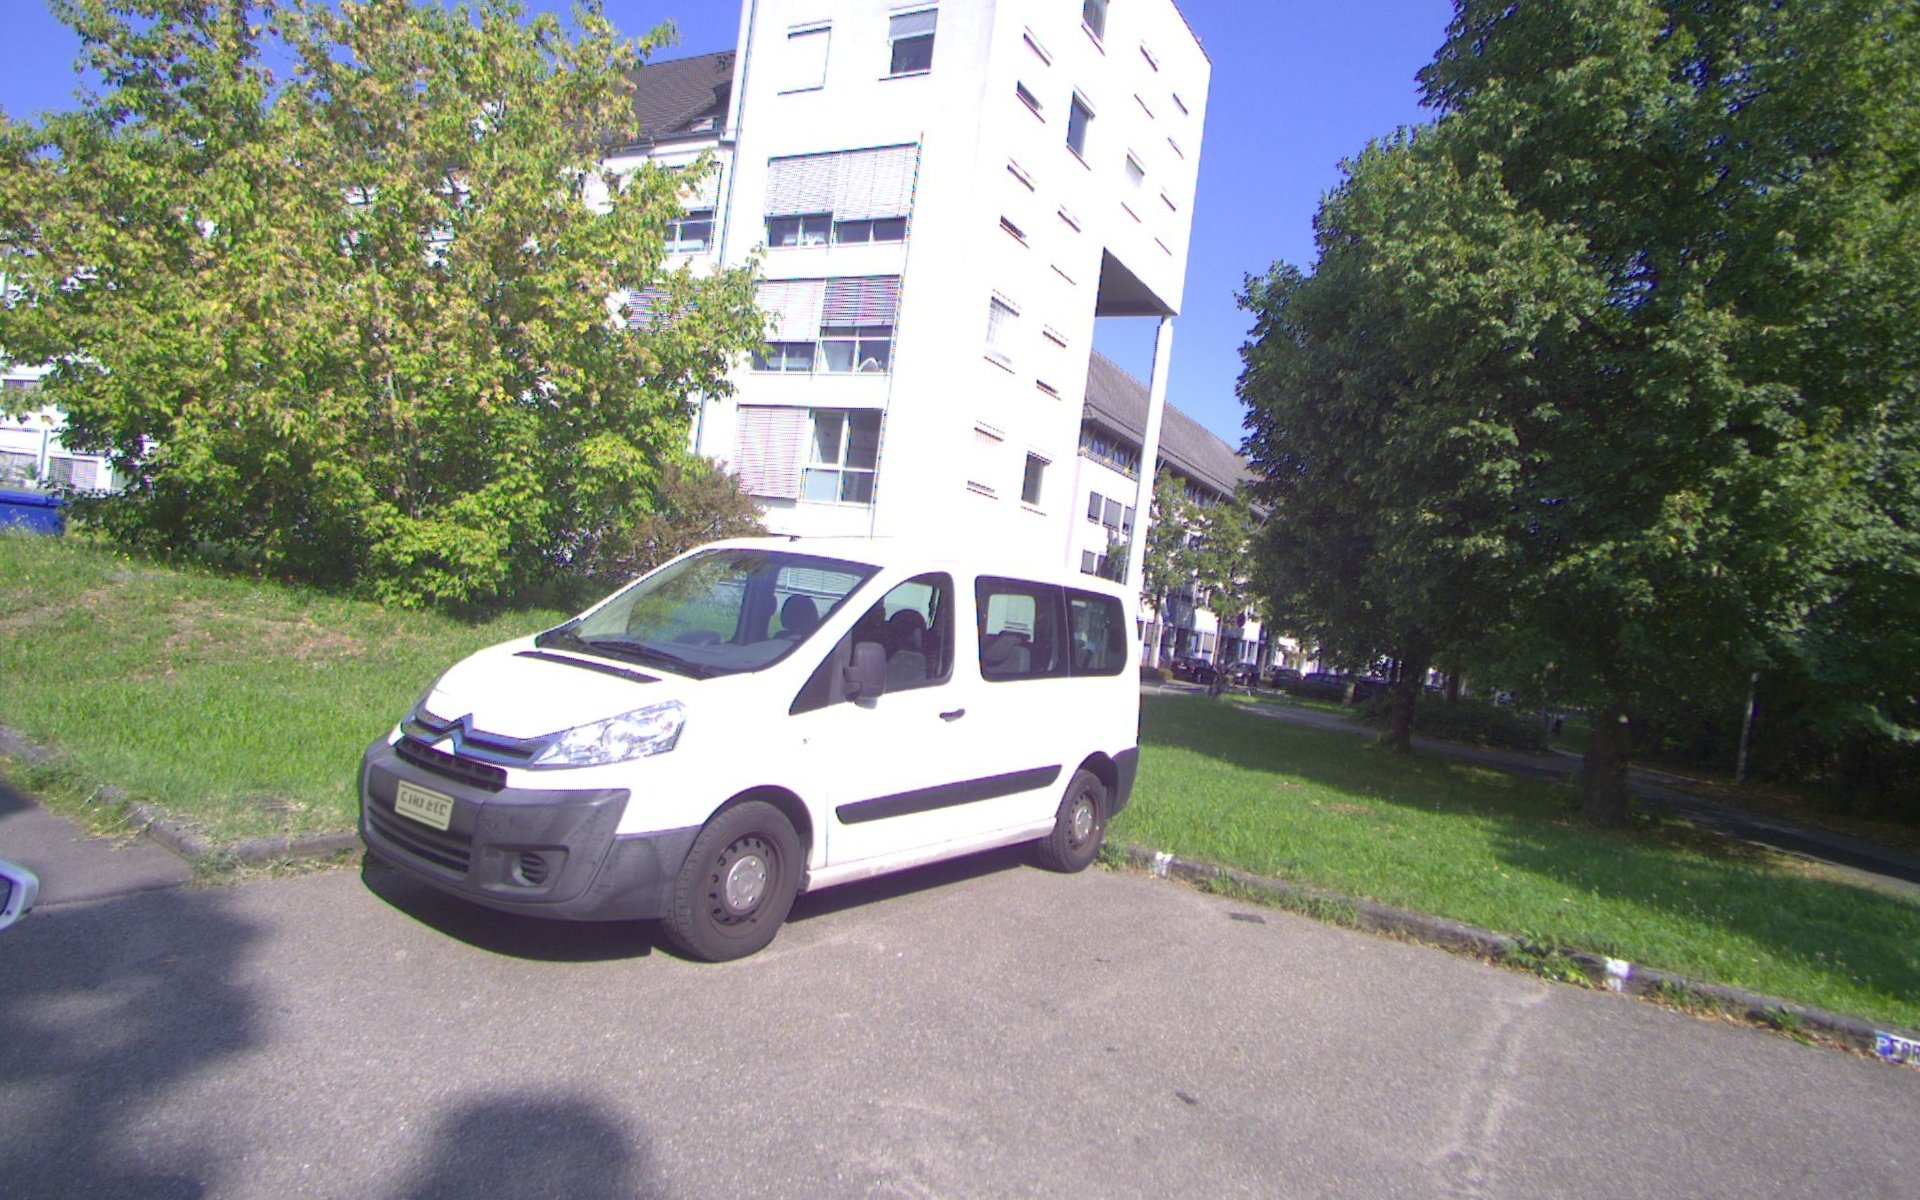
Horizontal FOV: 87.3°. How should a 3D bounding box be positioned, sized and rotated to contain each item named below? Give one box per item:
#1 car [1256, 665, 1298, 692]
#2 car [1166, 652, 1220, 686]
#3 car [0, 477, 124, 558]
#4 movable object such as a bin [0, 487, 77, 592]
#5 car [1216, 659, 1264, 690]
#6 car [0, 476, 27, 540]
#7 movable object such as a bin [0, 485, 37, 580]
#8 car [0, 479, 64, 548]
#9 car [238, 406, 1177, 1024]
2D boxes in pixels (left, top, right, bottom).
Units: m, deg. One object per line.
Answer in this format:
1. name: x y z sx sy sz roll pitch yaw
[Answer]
1. car: 22.964 5.683 72.822 1.737 1.619 3.992 7 -2 33
2. car: 13.293 3.952 57.232 1.736 1.619 3.995 7 -2 31
3. car: -23.116 -2.118 24.420 1.863 1.607 3.812 7 -1 23
4. movable object such as a bin: -13.387 -0.893 14.013 1.058 1.356 1.229 7 -1 29
5. car: 18.049 4.799 64.730 1.737 1.619 3.992 7 -2 33
6. car: -28.328 -2.830 27.199 1.741 1.711 4.125 7 -2 30
7. movable object such as a bin: -14.767 -1.087 14.970 1.100 1.356 1.235 7 -1 36
8. car: -25.934 -2.467 25.834 1.847 1.607 3.872 7 -2 28
9. car: -0.761 0.533 5.765 2.012 1.943 4.963 6 -2 35
